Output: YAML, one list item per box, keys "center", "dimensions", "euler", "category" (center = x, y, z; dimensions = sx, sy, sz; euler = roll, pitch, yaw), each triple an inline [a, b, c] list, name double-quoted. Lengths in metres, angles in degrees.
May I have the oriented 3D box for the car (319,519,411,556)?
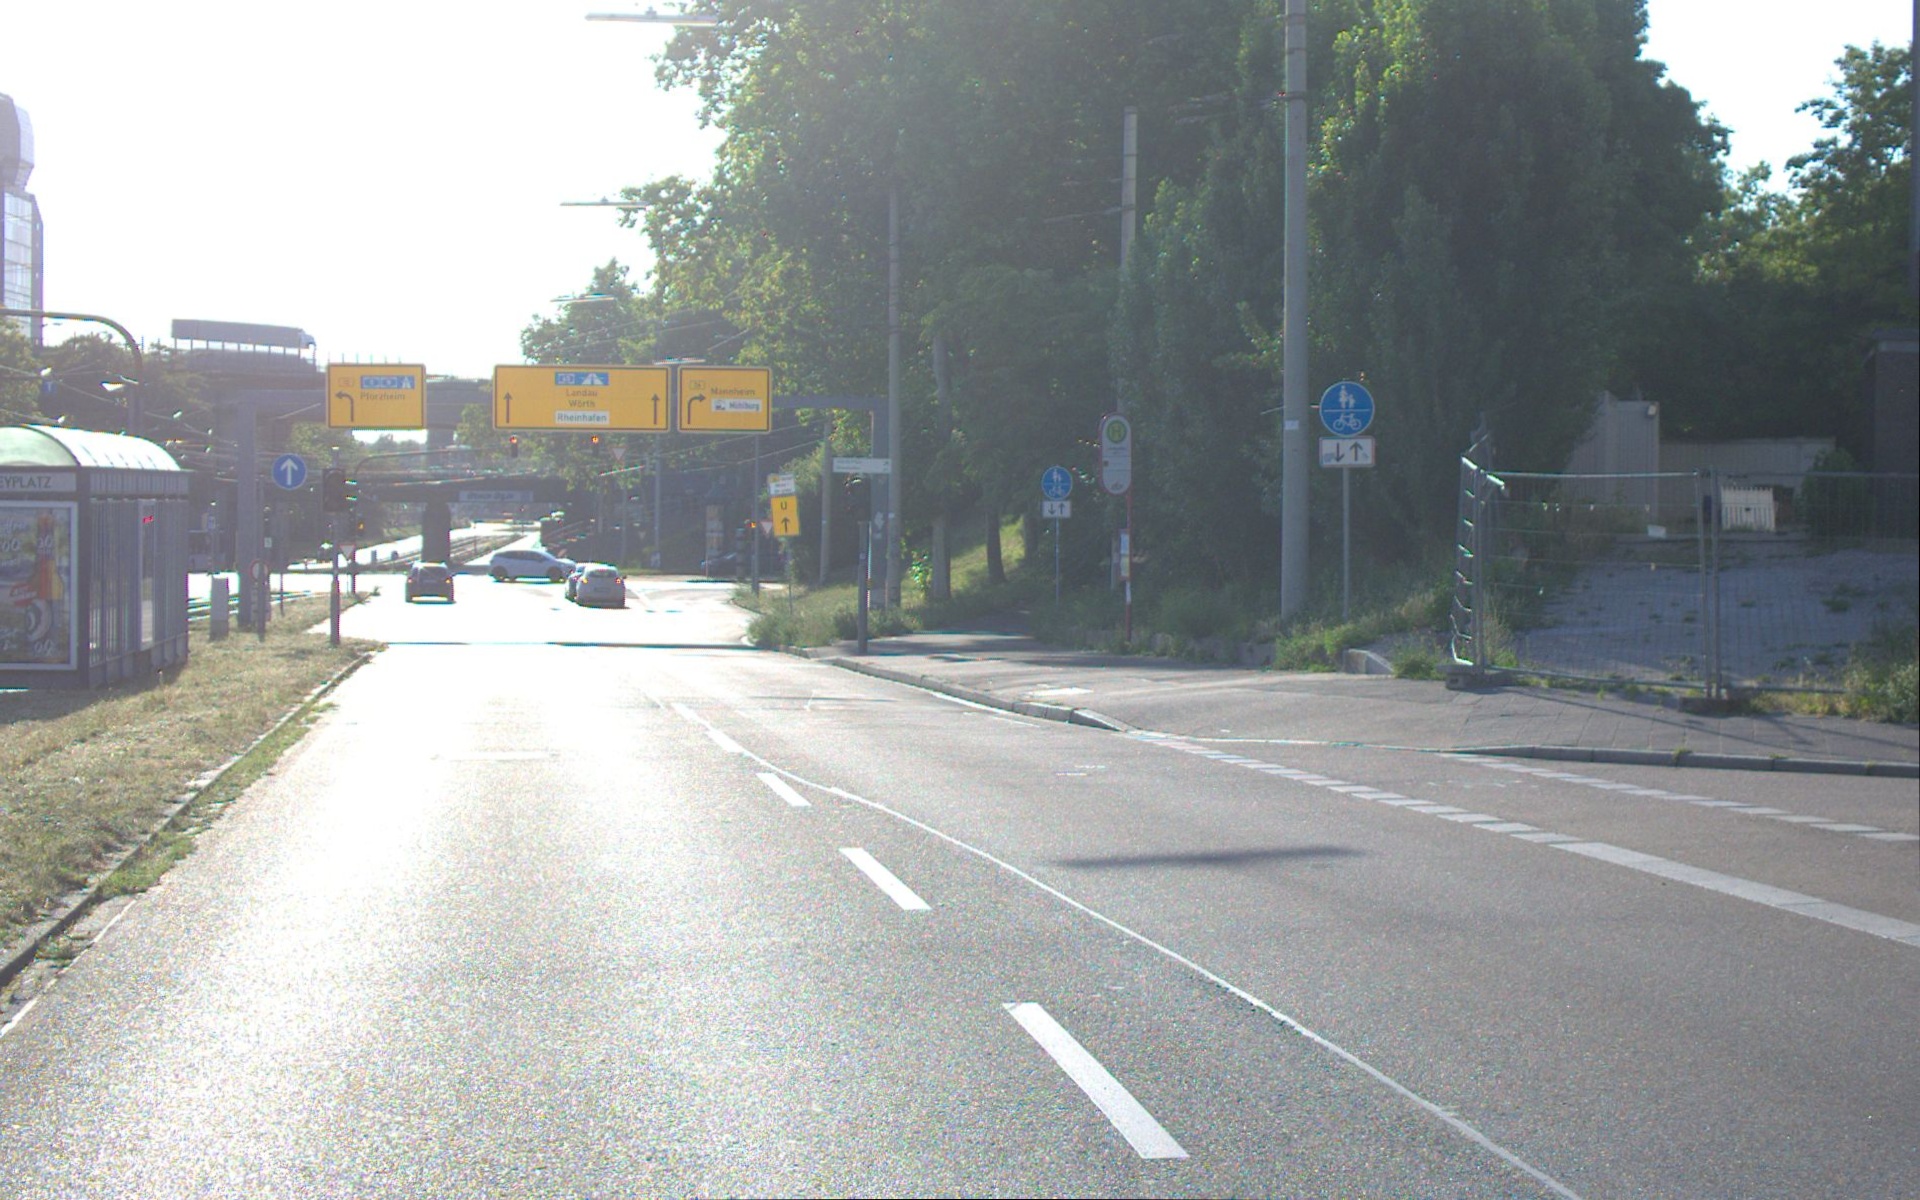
- center: [-34.083, -3.611, 197.039]
  dimensions: [4.787, 2.006, 1.999]
  euler: [2, 2, 15]
  category: "car"

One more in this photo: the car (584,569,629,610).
- center: [-12.936, -0.387, 125.780]
  dimensions: [1.515, 1.383, 3.364]
  euler: [1, 2, -4]
  category: "car"

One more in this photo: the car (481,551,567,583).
- center: [-20.514, -1.563, 161.792]
  dimensions: [3.986, 1.441, 1.775]
  euler: [0, 1, -7]
  category: "car"

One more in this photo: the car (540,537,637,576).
- center: [-20.302, -2.377, 187.995]
  dimensions: [4.849, 2.006, 1.999]
  euler: [1, 2, 13]
  category: "car"

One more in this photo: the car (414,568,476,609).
- center: [-19.120, -0.443, 127.808]
  dimensions: [2.037, 1.441, 4.001]
  euler: [0, 1, -5]
  category: "car"
